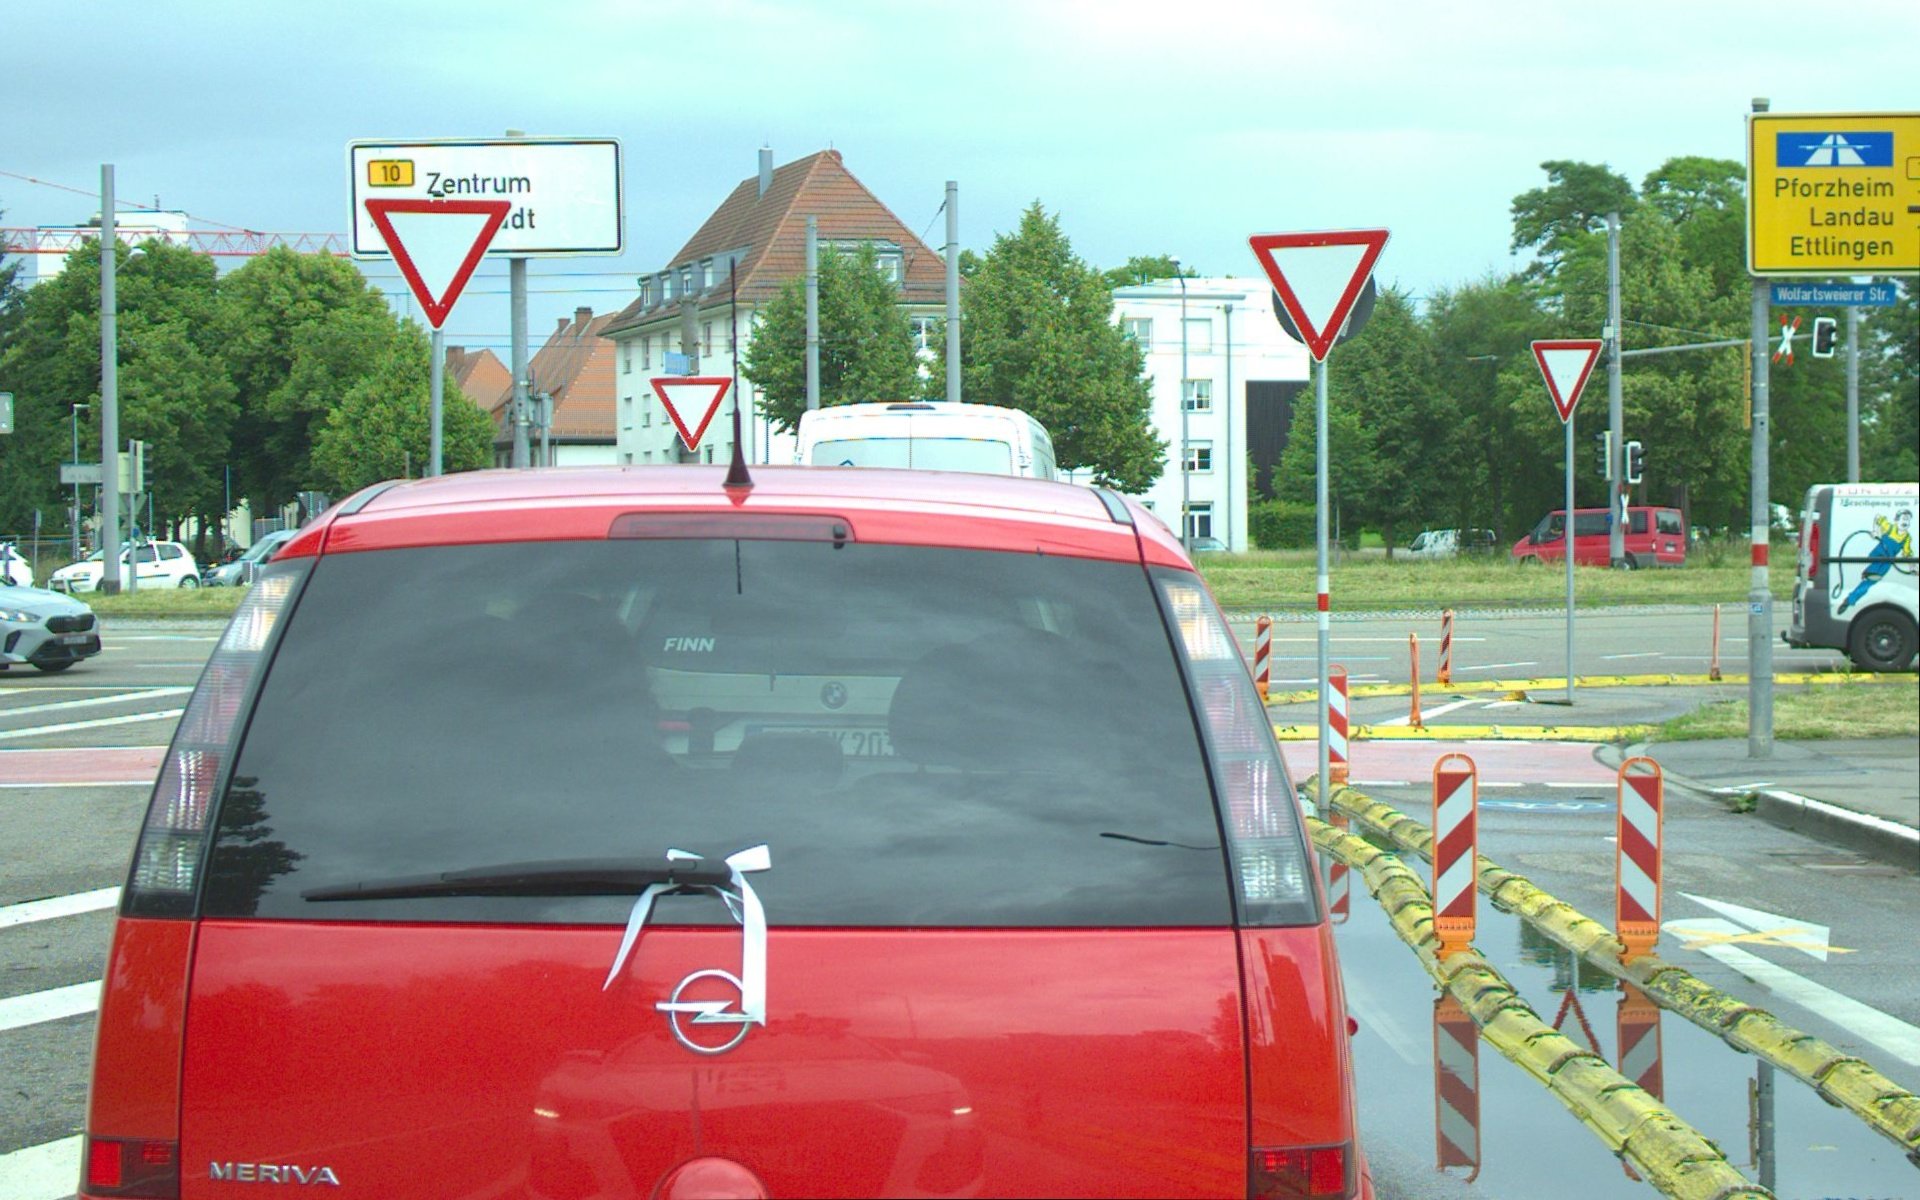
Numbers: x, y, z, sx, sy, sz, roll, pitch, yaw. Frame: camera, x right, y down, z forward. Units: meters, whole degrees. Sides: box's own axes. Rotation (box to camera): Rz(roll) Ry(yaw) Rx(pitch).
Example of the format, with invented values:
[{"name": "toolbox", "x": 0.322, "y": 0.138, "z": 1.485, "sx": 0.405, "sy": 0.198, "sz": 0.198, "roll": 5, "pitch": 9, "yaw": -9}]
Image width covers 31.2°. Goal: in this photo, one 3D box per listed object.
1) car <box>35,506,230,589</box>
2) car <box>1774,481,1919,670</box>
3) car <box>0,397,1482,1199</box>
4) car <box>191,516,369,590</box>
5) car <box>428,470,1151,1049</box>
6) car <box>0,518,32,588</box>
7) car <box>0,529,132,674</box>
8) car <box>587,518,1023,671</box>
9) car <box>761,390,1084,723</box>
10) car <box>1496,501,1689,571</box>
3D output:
[{"name": "car", "x": -20.474, "y": -1.317, "z": 85.214, "sx": 1.997, "sy": 2.007, "sz": 4.471, "roll": 0, "pitch": 1, "yaw": 35}, {"name": "car", "x": 10.936, "y": -0.277, "z": 35.385, "sx": 4.834, "sy": 1.893, "sz": 2.098, "roll": 0, "pitch": 1, "yaw": 10}, {"name": "car", "x": -0.311, "y": 0.571, "z": 5.486, "sx": 1.673, "sy": 1.635, "sz": 3.627, "roll": 1, "pitch": 1, "yaw": -1}, {"name": "car", "x": -19.163, "y": -1.328, "z": 96.908, "sx": 4.463, "sy": 2.007, "sz": 2.000, "roll": -1, "pitch": 1, "yaw": -30}, {"name": "car", "x": -0.520, "y": 0.411, "z": 12.184, "sx": 2.059, "sy": 1.642, "sz": 4.607, "roll": 1, "pitch": 1, "yaw": -1}, {"name": "car", "x": -24.225, "y": -1.077, "z": 80.368, "sx": 1.997, "sy": 1.629, "sz": 4.666, "roll": 0, "pitch": 1, "yaw": 35}, {"name": "car", "x": -12.064, "y": 0.003, "z": 39.783, "sx": 4.431, "sy": 1.597, "sz": 2.096, "roll": 0, "pitch": 1, "yaw": 23}, {"name": "car", "x": -1.658, "y": -0.079, "z": 37.704, "sx": 4.427, "sy": 1.597, "sz": 2.098, "roll": 0, "pitch": 1, "yaw": 9}, {"name": "car", "x": -0.205, "y": -0.389, "z": 28.928, "sx": 2.195, "sy": 2.531, "sz": 4.961, "roll": 1, "pitch": 1, "yaw": 5}, {"name": "car", "x": 17.747, "y": -1.798, "z": 96.482, "sx": 4.884, "sy": 1.911, "sz": 2.111, "roll": 0, "pitch": 1, "yaw": 36}]
